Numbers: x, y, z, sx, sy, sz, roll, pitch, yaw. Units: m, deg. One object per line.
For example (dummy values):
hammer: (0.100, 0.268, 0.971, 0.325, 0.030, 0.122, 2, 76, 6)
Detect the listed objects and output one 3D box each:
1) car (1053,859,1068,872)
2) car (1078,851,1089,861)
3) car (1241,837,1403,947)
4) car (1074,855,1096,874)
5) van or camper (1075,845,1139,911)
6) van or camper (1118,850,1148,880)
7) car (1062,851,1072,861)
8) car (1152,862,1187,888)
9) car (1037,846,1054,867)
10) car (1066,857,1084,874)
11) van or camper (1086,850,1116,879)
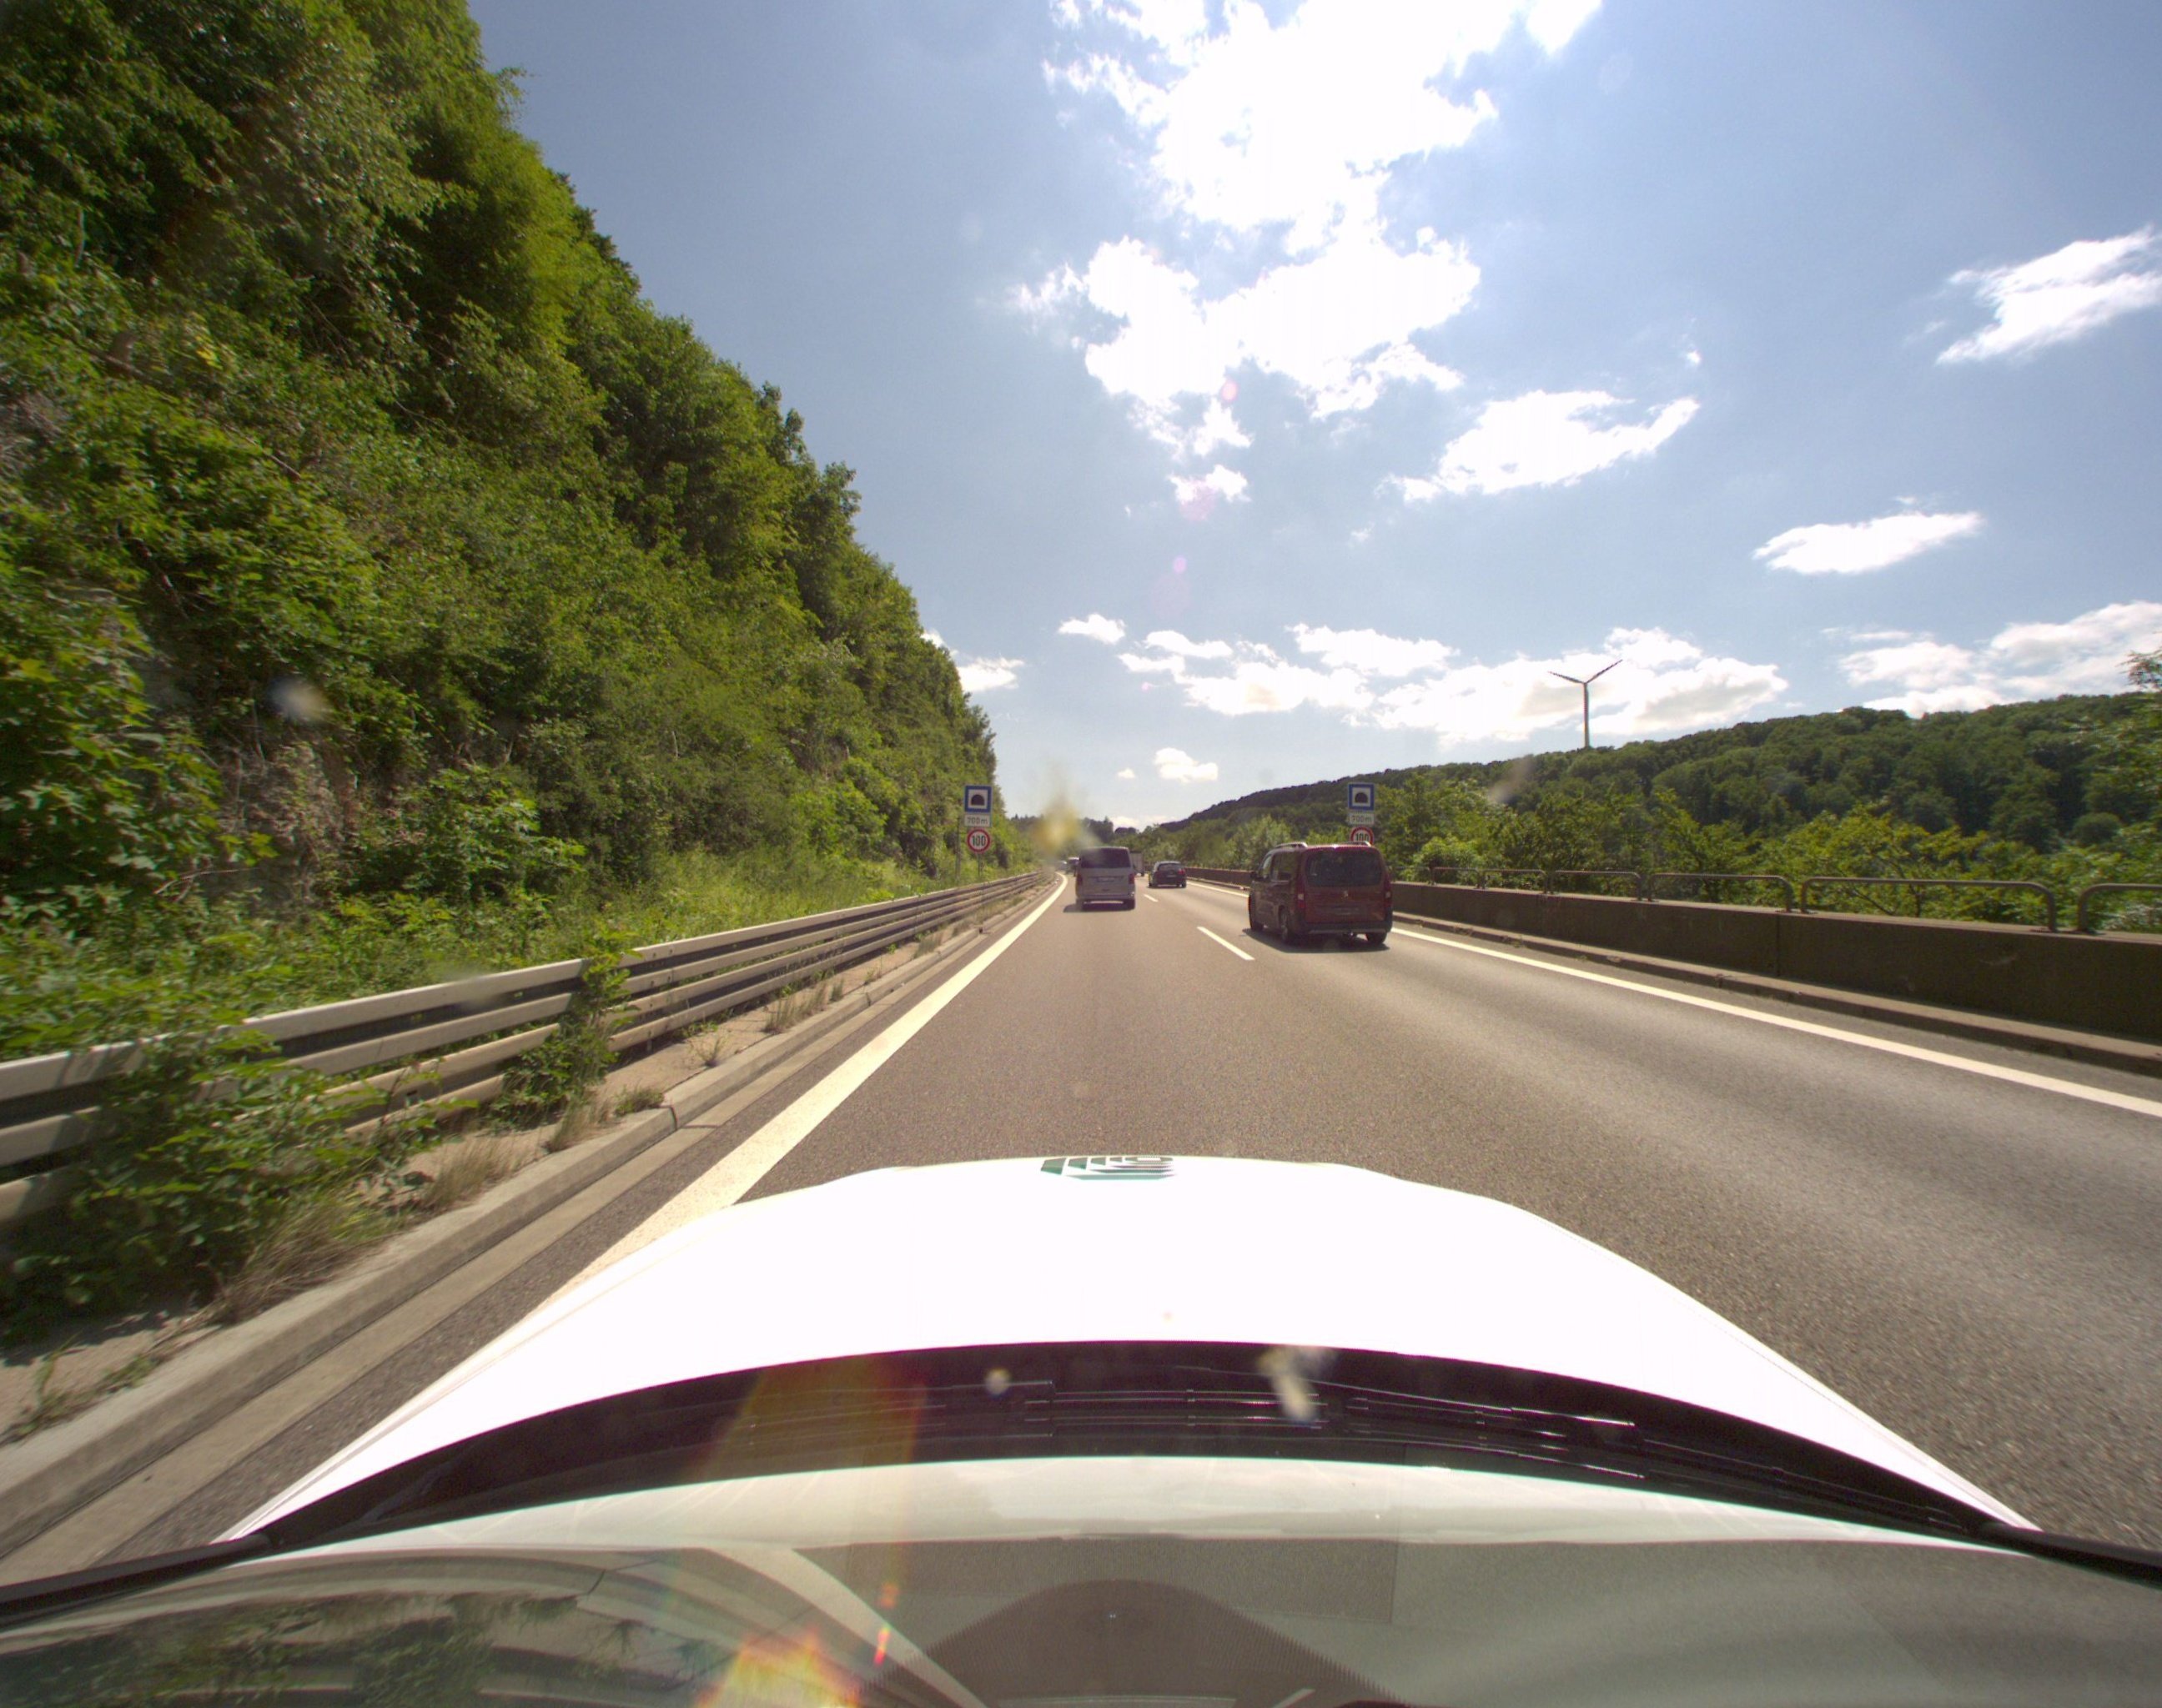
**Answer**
car: (-2.964, 1.626, 116.174, 1.988, 1.915, 3.996, -1, -1, -2)
car: (0.526, 0.411, 159.569, 1.989, 2.014, 3.995, -1, 0, -3)
car: (4.498, 0.673, 15.991, 1.827, 1.784, 4.676, -2, -1, 1)
car: (0.386, 0.990, 78.993, 1.987, 1.818, 3.999, -1, -1, 0)
van or camper: (0.775, 0.760, 26.854, 1.870, 1.949, 4.292, -2, -1, 0)
van or camper: (4.742, 1.013, 74.912, 2.257, 2.551, 4.733, -2, -1, -1)
car: (-2.943, 0.443, 174.678, 1.989, 2.014, 3.996, -1, 0, -2)
car: (4.878, 1.146, 45.233, 1.761, 1.376, 3.595, -1, 0, 3)
car: (-8.923, 0.652, 203.591, 4.035, 4.871, 10.095, -1, -1, -4)
car: (-0.648, 1.334, 94.659, 1.987, 1.818, 3.999, -1, -1, 0)
van or camper: (2.709, 1.421, 113.563, 3.270, 3.789, 8.098, -1, 0, -5)
